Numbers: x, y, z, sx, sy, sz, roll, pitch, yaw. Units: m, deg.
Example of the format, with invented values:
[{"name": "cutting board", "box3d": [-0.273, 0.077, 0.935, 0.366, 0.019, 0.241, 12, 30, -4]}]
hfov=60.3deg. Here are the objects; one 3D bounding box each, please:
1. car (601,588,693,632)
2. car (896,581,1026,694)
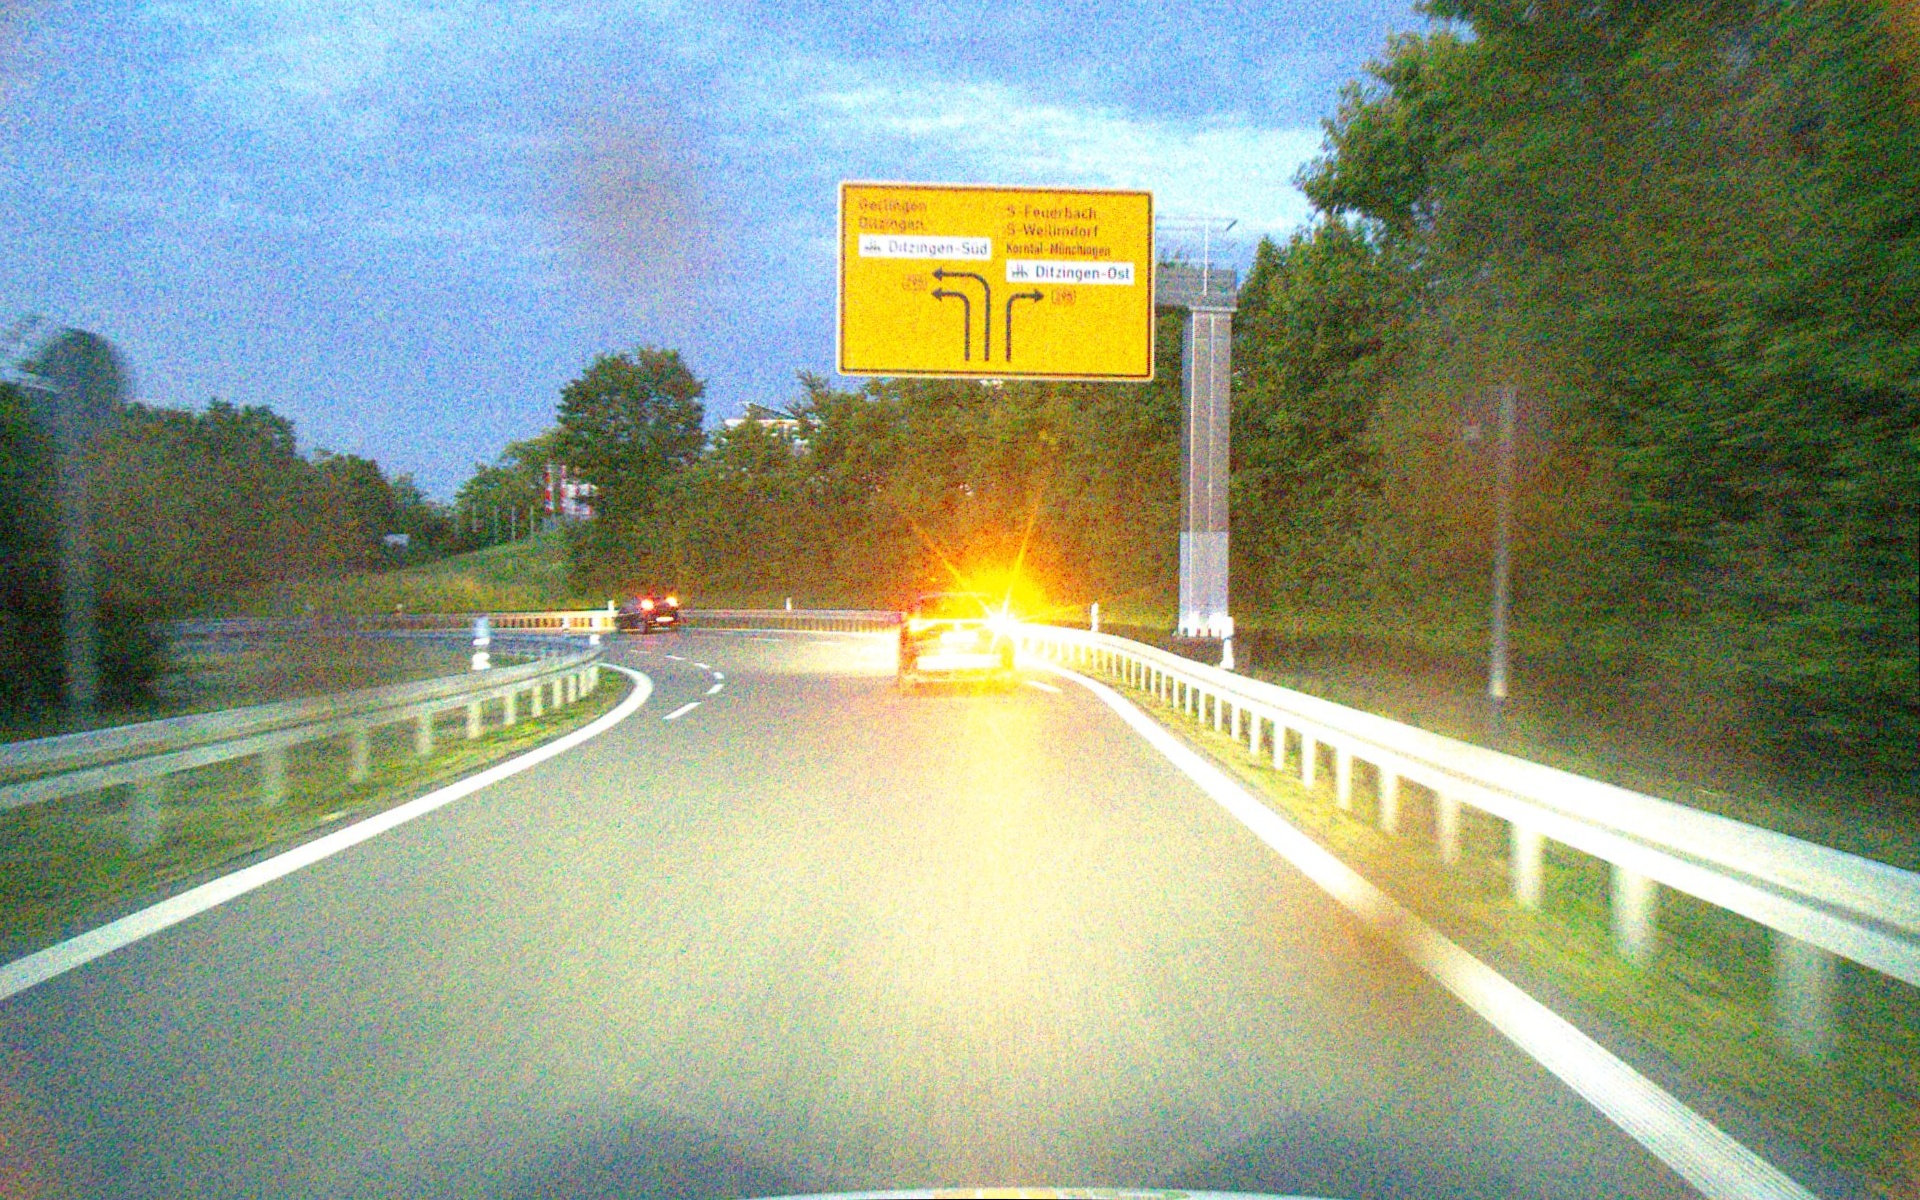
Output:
[{"name": "car", "box3d": [-13.013, 0.396, 68.594, 1.982, 1.626, 3.941, 3, 0, -41]}, {"name": "car", "box3d": [0.000, 0.571, 27.354, 1.953, 1.688, 4.314, -1, 0, -1]}]
